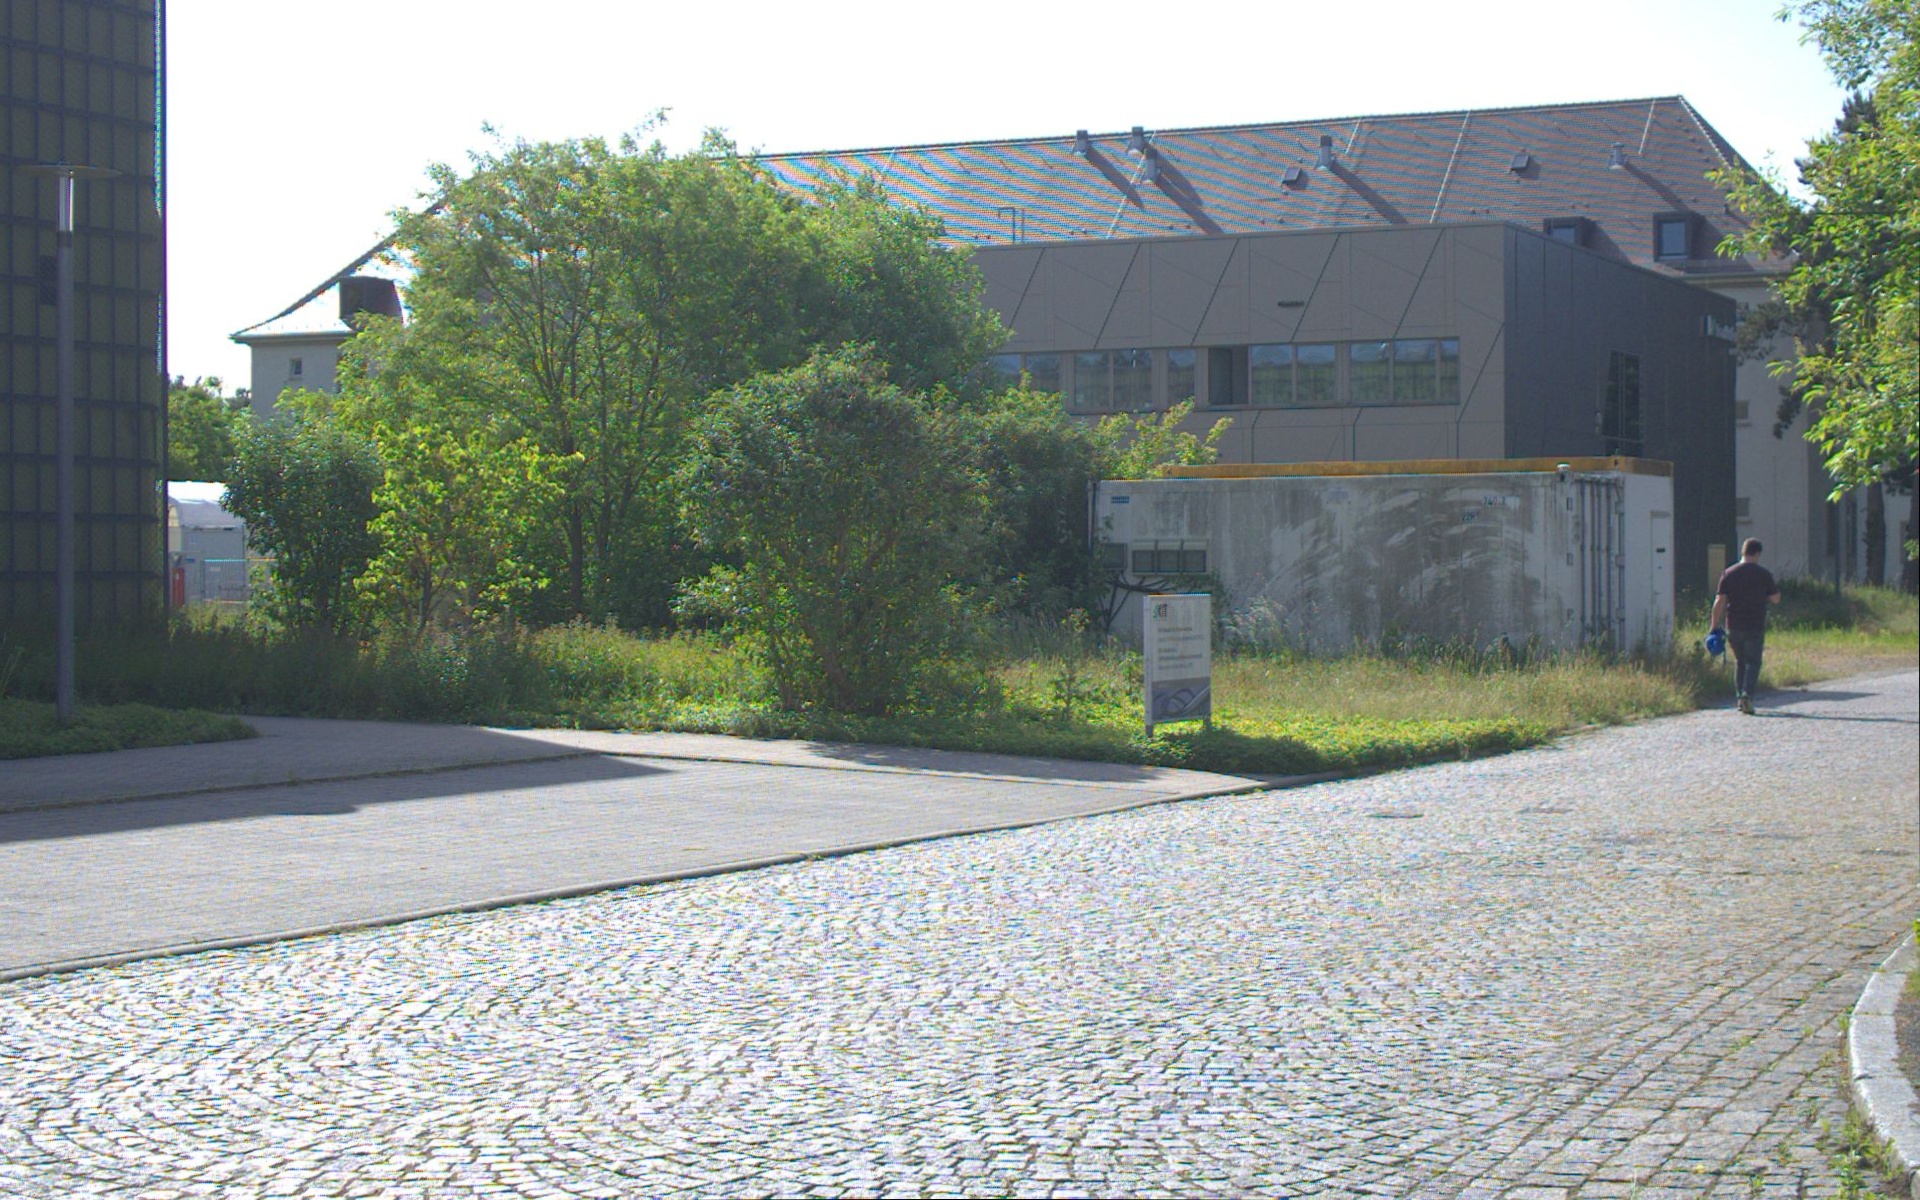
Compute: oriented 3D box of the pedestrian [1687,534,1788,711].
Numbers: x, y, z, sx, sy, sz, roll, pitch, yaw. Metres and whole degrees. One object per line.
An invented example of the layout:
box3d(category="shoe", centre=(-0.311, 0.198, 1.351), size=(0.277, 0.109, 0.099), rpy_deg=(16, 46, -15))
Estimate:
box3d(category="pedestrian", centre=(8.047, 0.223, 35.563), size=(0.796, 1.774, 1.067), rpy_deg=(2, 1, 23))
